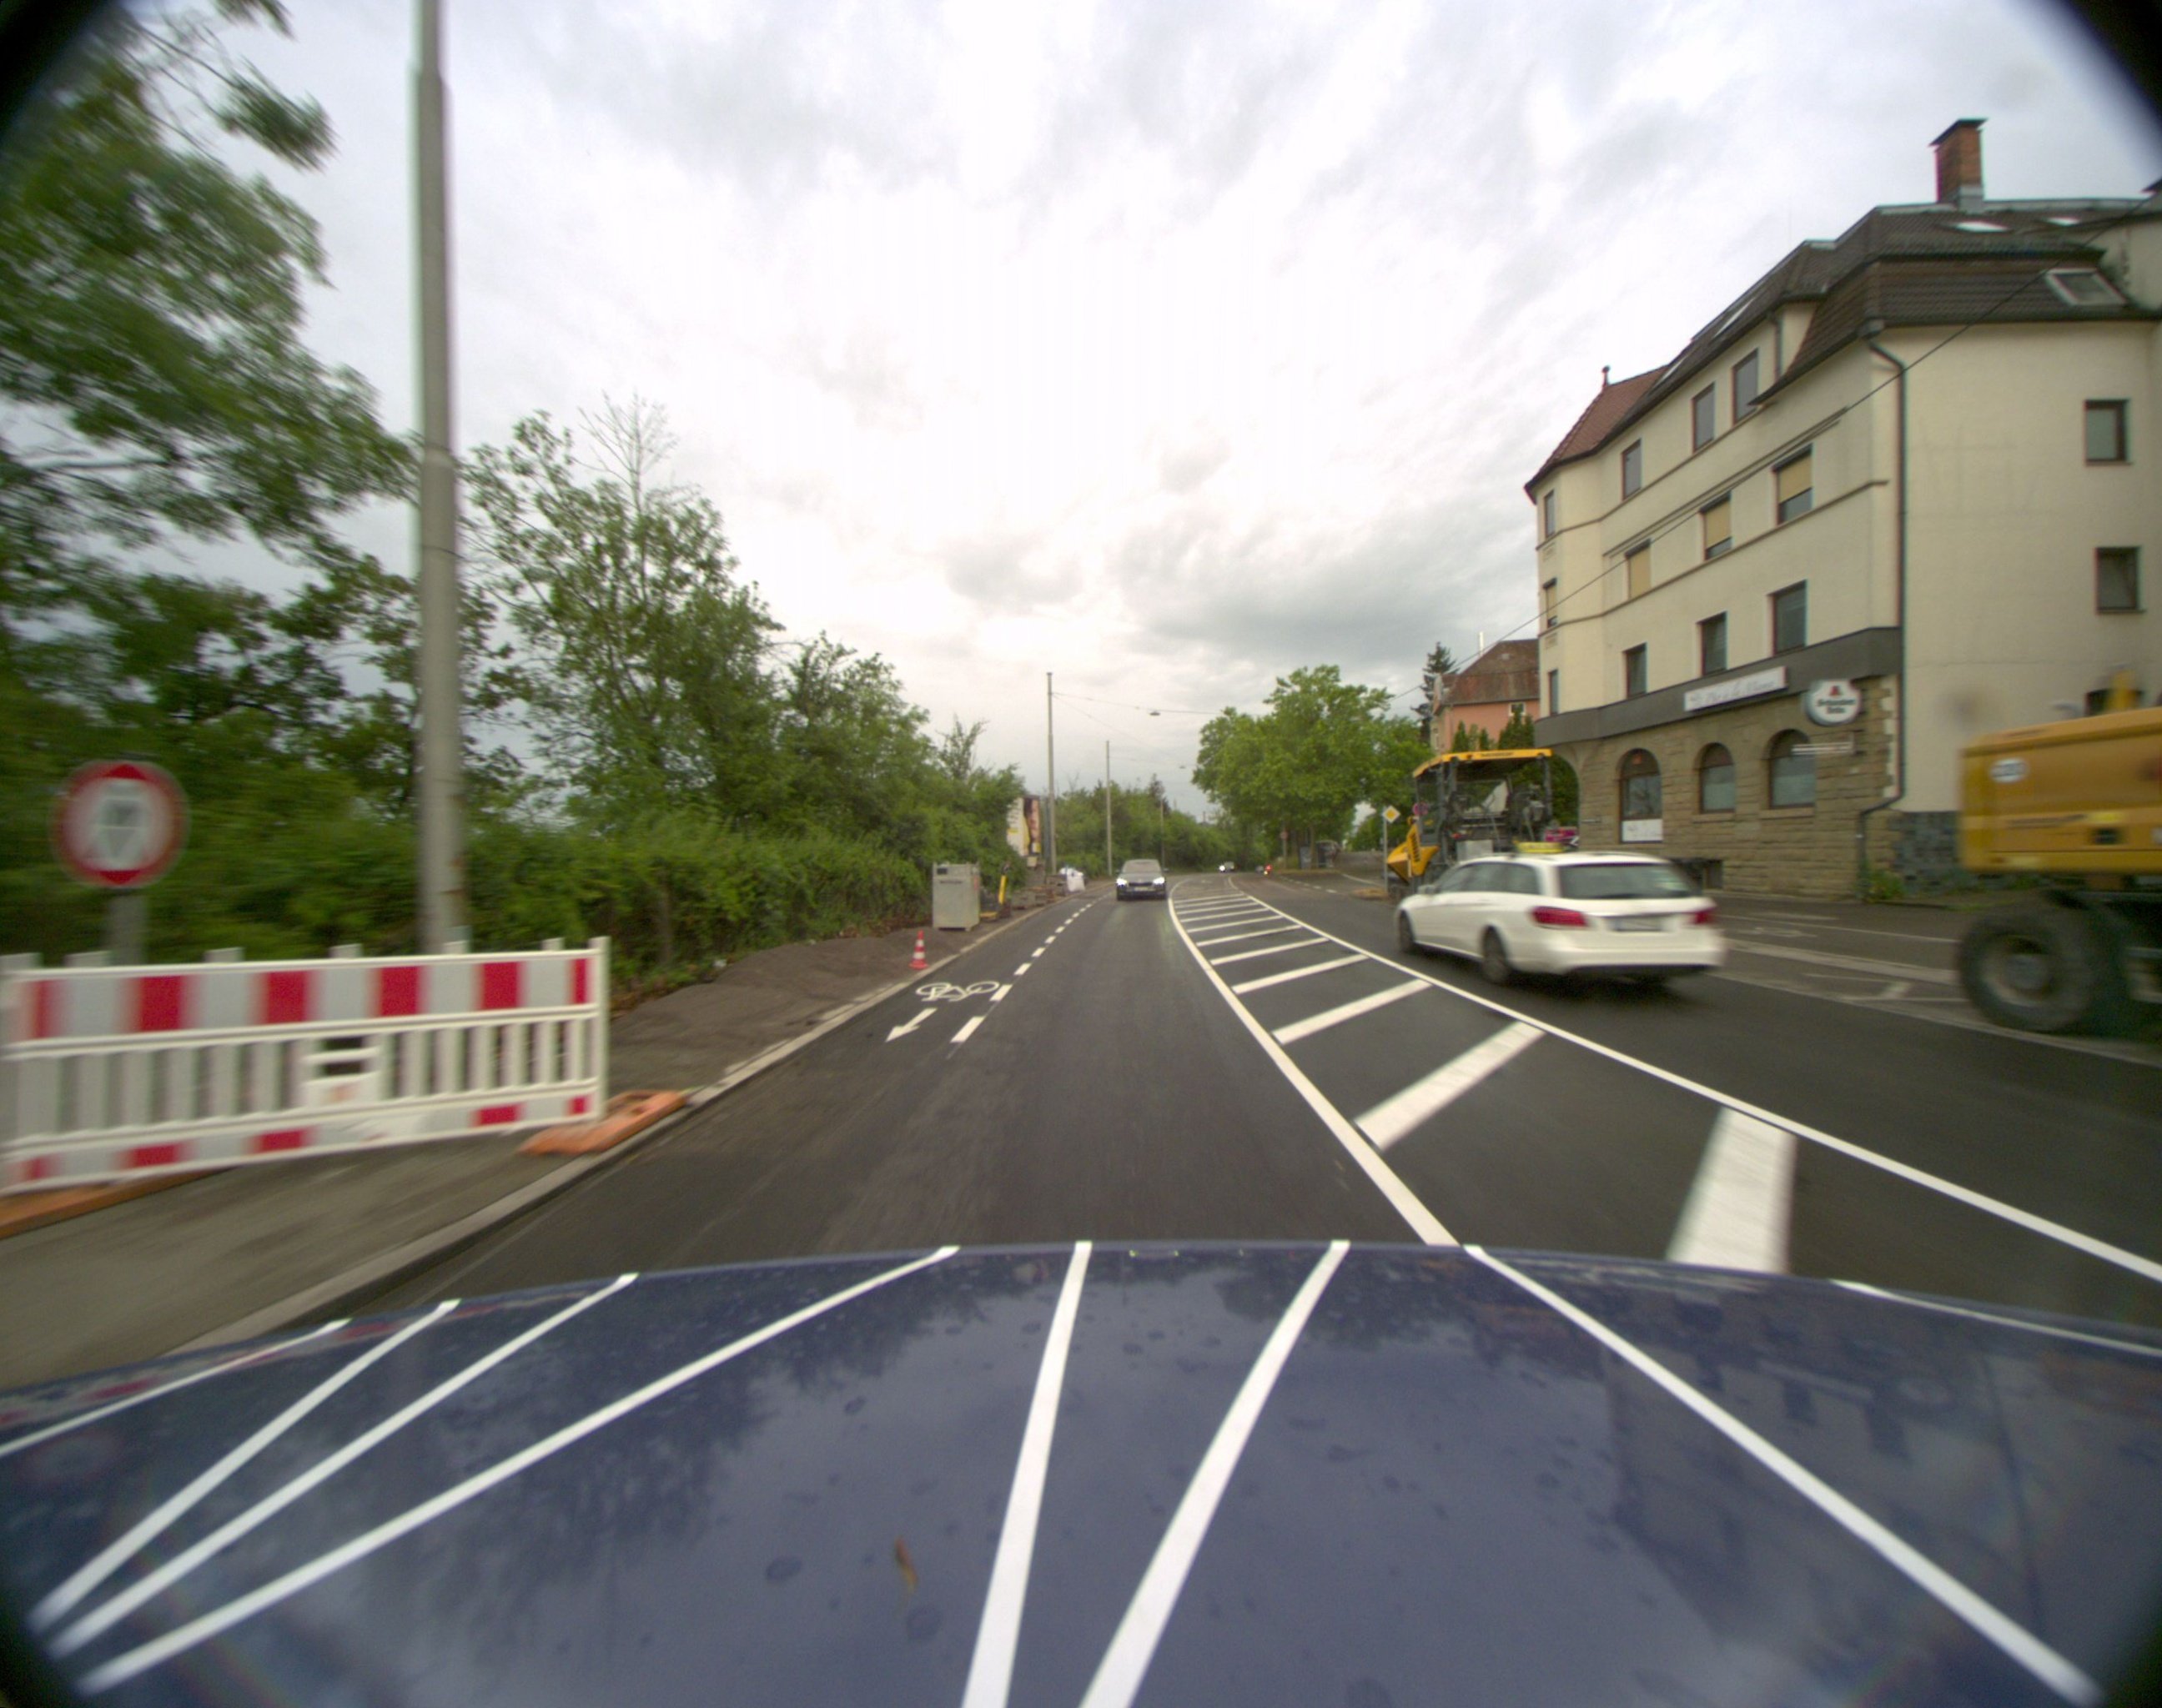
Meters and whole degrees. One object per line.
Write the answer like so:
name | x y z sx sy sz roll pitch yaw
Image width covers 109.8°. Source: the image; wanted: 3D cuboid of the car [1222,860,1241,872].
car | 19.780 1.627 99.797 1.996 1.433 4.006 -3 -2 17

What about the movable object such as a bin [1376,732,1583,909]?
movable object such as a bin | 10.029 -0.649 19.930 2.780 3.832 5.993 -2 -2 8

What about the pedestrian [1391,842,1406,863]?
pedestrian | 21.178 -0.108 50.722 0.792 1.346 0.792 -3 -2 19

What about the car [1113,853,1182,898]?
car | 2.532 0.794 28.225 1.979 1.496 4.005 -3 -2 13

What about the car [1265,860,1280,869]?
car | 30.906 1.713 122.457 2.074 1.344 4.720 -3 -2 17

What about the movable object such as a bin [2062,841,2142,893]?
movable object such as a bin | 19.823 0.249 14.762 0.623 0.968 0.647 -2 -1 -1

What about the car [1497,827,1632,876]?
car | 20.419 -0.082 32.182 4.545 1.564 1.936 -6 -1 -9

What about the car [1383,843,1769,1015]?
car | 5.562 0.681 9.449 1.933 1.547 4.620 -2 1 3

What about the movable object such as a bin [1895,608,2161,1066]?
movable object such as a bin | 8.858 -0.163 4.851 2.877 3.154 4.127 -2 -1 4

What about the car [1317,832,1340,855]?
car | 24.421 -0.989 74.874 1.996 2.001 4.635 -3 -2 20

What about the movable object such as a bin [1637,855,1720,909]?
movable object such as a bin | 13.986 0.656 17.805 0.894 1.215 1.202 -2 -2 -23
